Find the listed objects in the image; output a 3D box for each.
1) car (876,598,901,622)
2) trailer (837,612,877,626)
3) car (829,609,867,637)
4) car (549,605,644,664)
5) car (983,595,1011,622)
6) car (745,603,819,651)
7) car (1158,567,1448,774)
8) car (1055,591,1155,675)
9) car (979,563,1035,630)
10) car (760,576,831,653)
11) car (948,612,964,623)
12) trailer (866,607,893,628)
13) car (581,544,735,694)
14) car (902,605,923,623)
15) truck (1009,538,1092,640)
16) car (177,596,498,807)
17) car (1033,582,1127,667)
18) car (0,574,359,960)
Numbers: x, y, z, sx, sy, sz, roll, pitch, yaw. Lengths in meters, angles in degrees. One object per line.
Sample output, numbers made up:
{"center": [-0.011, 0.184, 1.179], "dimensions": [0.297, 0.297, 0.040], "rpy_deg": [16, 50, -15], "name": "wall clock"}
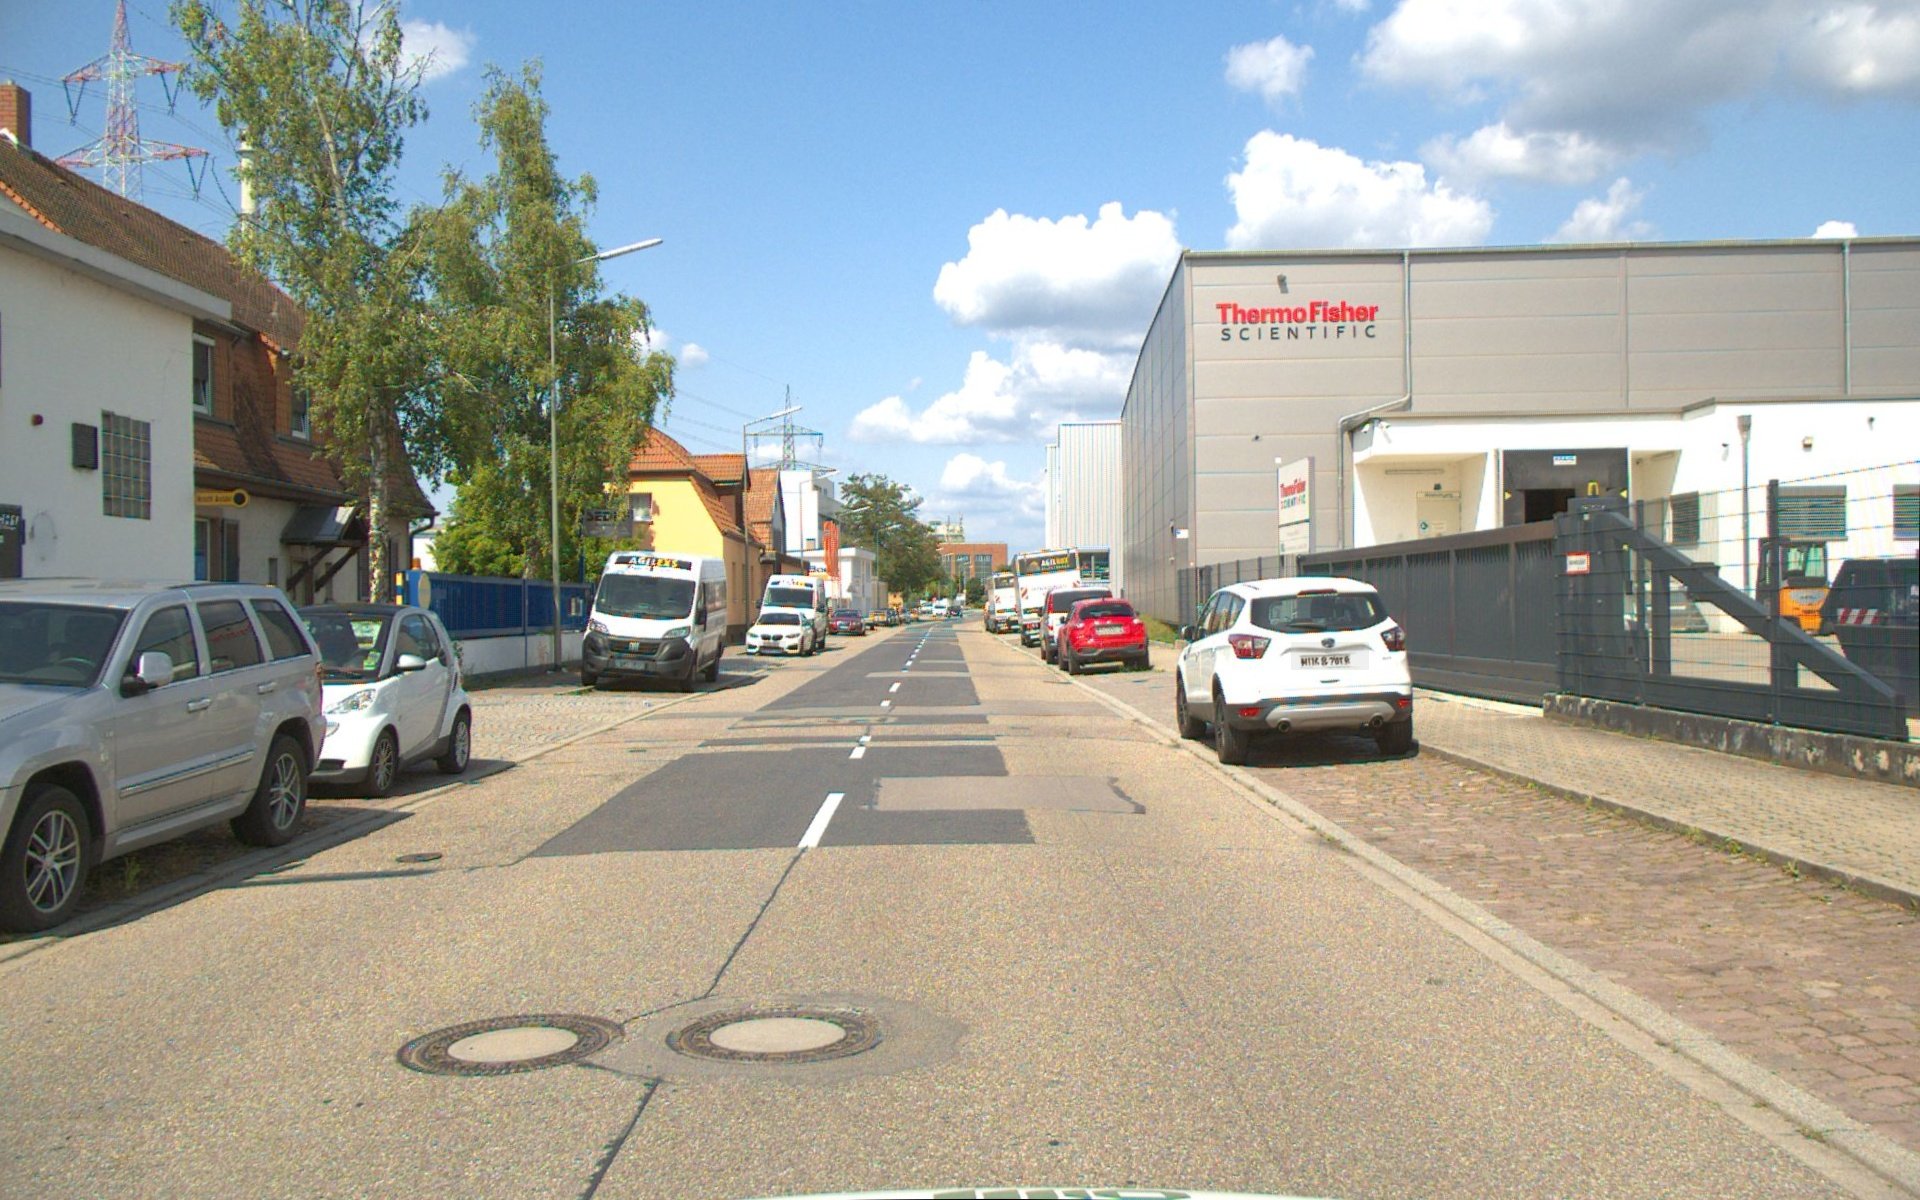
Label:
{"center": [-6.309, 0.896, 146.344], "dimensions": [1.952, 2.049, 4.001], "rpy_deg": [0, -1, 2], "name": "car"}
{"center": [-6.784, 1.267, 109.741], "dimensions": [2.314, 0.908, 5.568], "rpy_deg": [1, -1, 0], "name": "trailer"}
{"center": [-6.113, 1.267, 90.861], "dimensions": [1.726, 1.473, 4.740], "rpy_deg": [1, -1, 0], "name": "car"}
{"center": [-11.142, 1.020, 50.935], "dimensions": [1.827, 1.488, 4.144], "rpy_deg": [-3, 2, 2], "name": "car"}
{"center": [2.338, 0.558, 104.815], "dimensions": [1.732, 1.640, 3.873], "rpy_deg": [-1, -1, 1], "name": "car"}
{"center": [-5.566, 0.829, 52.134], "dimensions": [1.759, 1.422, 4.502], "rpy_deg": [0, -1, 1], "name": "car"}
{"center": [3.351, 0.623, 17.154], "dimensions": [1.896, 1.723, 4.679], "rpy_deg": [-4, 0, -1], "name": "car"}
{"center": [3.158, 0.714, 36.759], "dimensions": [1.670, 1.652, 4.091], "rpy_deg": [-4, -1, -1], "name": "car"}
{"center": [2.567, -0.173, 92.214], "dimensions": [2.341, 3.421, 6.640], "rpy_deg": [-4, 0, -3], "name": "car"}
{"center": [-5.831, 0.526, 59.357], "dimensions": [1.986, 2.606, 6.837], "rpy_deg": [0, -1, -1], "name": "car"}
{"center": [-0.459, 2.120, 200.659], "dimensions": [1.879, 1.307, 3.614], "rpy_deg": [-2, 0, -1], "name": "car"}
{"center": [-6.349, 1.380, 130.769], "dimensions": [1.953, 1.584, 4.253], "rpy_deg": [-1, 0, -1], "name": "trailer"}
{"center": [-5.749, 0.360, 32.385], "dimensions": [1.989, 2.602, 6.654], "rpy_deg": [1, -1, -2], "name": "car"}
{"center": [-4.853, 1.476, 169.816], "dimensions": [1.882, 1.825, 4.001], "rpy_deg": [0, -1, 2], "name": "car"}
{"center": [3.257, -0.365, 61.212], "dimensions": [2.409, 3.349, 6.817], "rpy_deg": [-6, 0, 0], "name": "truck"}
{"center": [-5.366, 0.800, 14.634], "dimensions": [1.576, 1.601, 3.009], "rpy_deg": [2, 0, 1], "name": "car"}
{"center": [3.085, 0.615, 43.551], "dimensions": [2.012, 1.936, 5.147], "rpy_deg": [-5, 0, 1], "name": "car"}
{"center": [-5.233, 0.748, 9.601], "dimensions": [1.754, 1.749, 4.750], "rpy_deg": [1, 0, -1], "name": "car"}
